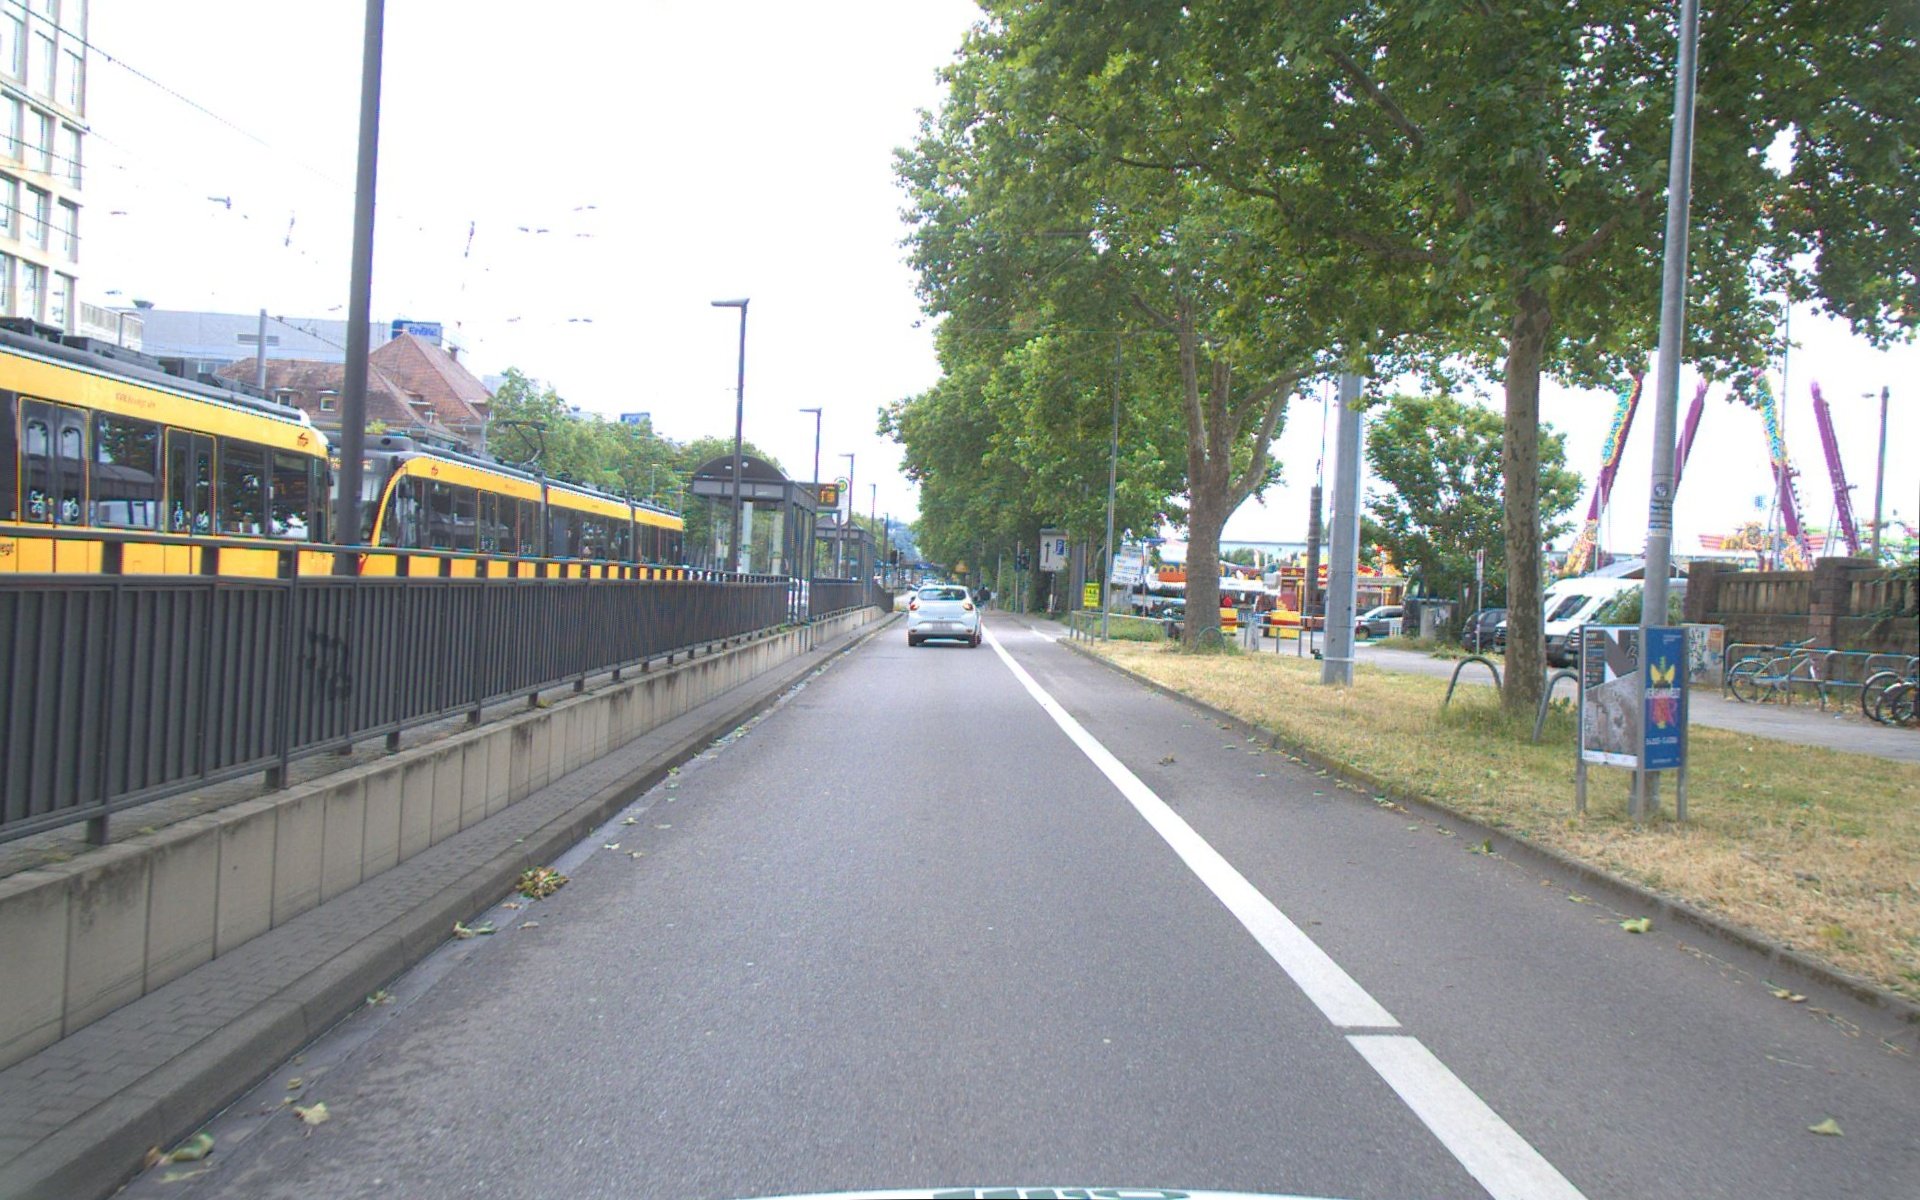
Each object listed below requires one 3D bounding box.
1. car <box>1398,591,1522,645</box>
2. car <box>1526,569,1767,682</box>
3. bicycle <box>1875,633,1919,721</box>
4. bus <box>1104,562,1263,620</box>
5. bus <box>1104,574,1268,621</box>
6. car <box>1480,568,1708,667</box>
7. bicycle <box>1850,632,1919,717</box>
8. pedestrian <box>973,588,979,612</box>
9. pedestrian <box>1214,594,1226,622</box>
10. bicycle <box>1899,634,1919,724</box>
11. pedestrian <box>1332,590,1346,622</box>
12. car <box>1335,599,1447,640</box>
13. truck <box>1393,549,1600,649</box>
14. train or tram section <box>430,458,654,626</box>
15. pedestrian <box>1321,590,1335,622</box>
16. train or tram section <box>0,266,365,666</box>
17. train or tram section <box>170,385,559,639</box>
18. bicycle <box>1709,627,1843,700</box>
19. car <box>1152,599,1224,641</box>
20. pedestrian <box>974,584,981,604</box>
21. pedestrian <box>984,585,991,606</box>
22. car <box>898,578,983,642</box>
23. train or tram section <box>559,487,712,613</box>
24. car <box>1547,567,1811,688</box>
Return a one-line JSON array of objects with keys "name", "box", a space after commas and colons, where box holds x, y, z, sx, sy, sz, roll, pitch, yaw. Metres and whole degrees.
[{"name": "car", "box": [20.689, 0.729, 68.537, 4.482, 2.048, 1.999, 2, 1, -3]}, {"name": "car", "box": [18.892, 0.681, 45.682, 5.670, 2.579, 2.039, 5, 0, -2]}, {"name": "bicycle", "box": [13.150, 1.021, 21.831, 1.862, 1.116, 0.549, 1, 0, -3]}, {"name": "bus", "box": [13.337, -0.511, 98.819, 9.094, 3.011, 1.999, 3, 0, -4]}, {"name": "bus", "box": [13.034, -0.118, 95.614, 9.094, 2.266, 1.999, 3, 0, -4]}, {"name": "car", "box": [18.741, 0.503, 49.059, 5.903, 2.600, 2.099, 3, 0, -3]}, {"name": "bicycle", "box": [13.199, 1.016, 22.471, 1.935, 1.114, 0.549, 1, 0, -3]}, {"name": "pedestrian", "box": [1.399, -0.025, 143.685, 0.387, 2.049, 0.403, 2, 0, 14]}, {"name": "pedestrian", "box": [14.042, 0.431, 89.406, 0.483, 1.488, 0.523, 2, 0, -4]}, {"name": "bicycle", "box": [13.135, 1.027, 21.250, 1.852, 1.124, 0.549, 1, 0, -3]}, {"name": "pedestrian", "box": [21.052, 0.325, 91.852, 0.514, 1.716, 0.492, 3, 0, -17]}, {"name": "car", "box": [19.366, 0.866, 74.444, 4.482, 1.603, 1.999, 3, 0, -2]}, {"name": "truck", "box": [23.151, -0.034, 71.599, 8.027, 3.889, 2.599, 3, 0, -3]}, {"name": "train or tram section", "box": [-12.277, -1.518, 50.606, 3.116, 4.251, 14.731, 3, 0, -1]}, {"name": "pedestrian", "box": [20.351, 0.322, 91.375, 0.514, 1.716, 0.492, 3, 0, -17]}, {"name": "train or tram section", "box": [-11.866, -1.489, 21.754, 3.116, 4.251, 13.618, 3, 0, -1]}, {"name": "train or tram section", "box": [-12.066, -1.515, 35.929, 3.116, 4.251, 14.731, 3, 0, -1]}, {"name": "bicycle", "box": [13.014, 1.010, 26.409, 1.883, 1.110, 0.549, 1, 0, -3]}, {"name": "car", "box": [8.561, 0.731, 62.445, 1.827, 1.455, 3.996, 3, 0, -5]}, {"name": "pedestrian", "box": [1.338, -0.459, 124.454, 0.387, 1.469, 0.564, 2, 0, 10]}, {"name": "pedestrian", "box": [2.052, -0.348, 124.628, 0.387, 1.613, 0.538, 2, 0, 6]}, {"name": "car", "box": [-0.556, 0.235, 42.411, 1.848, 1.478, 3.996, 3, 0, -5]}, {"name": "train or tram section", "box": [-12.466, -1.754, 65.314, 3.116, 4.251, 14.731, 3, 0, -1]}, {"name": "car", "box": [18.389, 0.679, 42.515, 5.667, 2.565, 2.171, 5, 1, 1]}]
